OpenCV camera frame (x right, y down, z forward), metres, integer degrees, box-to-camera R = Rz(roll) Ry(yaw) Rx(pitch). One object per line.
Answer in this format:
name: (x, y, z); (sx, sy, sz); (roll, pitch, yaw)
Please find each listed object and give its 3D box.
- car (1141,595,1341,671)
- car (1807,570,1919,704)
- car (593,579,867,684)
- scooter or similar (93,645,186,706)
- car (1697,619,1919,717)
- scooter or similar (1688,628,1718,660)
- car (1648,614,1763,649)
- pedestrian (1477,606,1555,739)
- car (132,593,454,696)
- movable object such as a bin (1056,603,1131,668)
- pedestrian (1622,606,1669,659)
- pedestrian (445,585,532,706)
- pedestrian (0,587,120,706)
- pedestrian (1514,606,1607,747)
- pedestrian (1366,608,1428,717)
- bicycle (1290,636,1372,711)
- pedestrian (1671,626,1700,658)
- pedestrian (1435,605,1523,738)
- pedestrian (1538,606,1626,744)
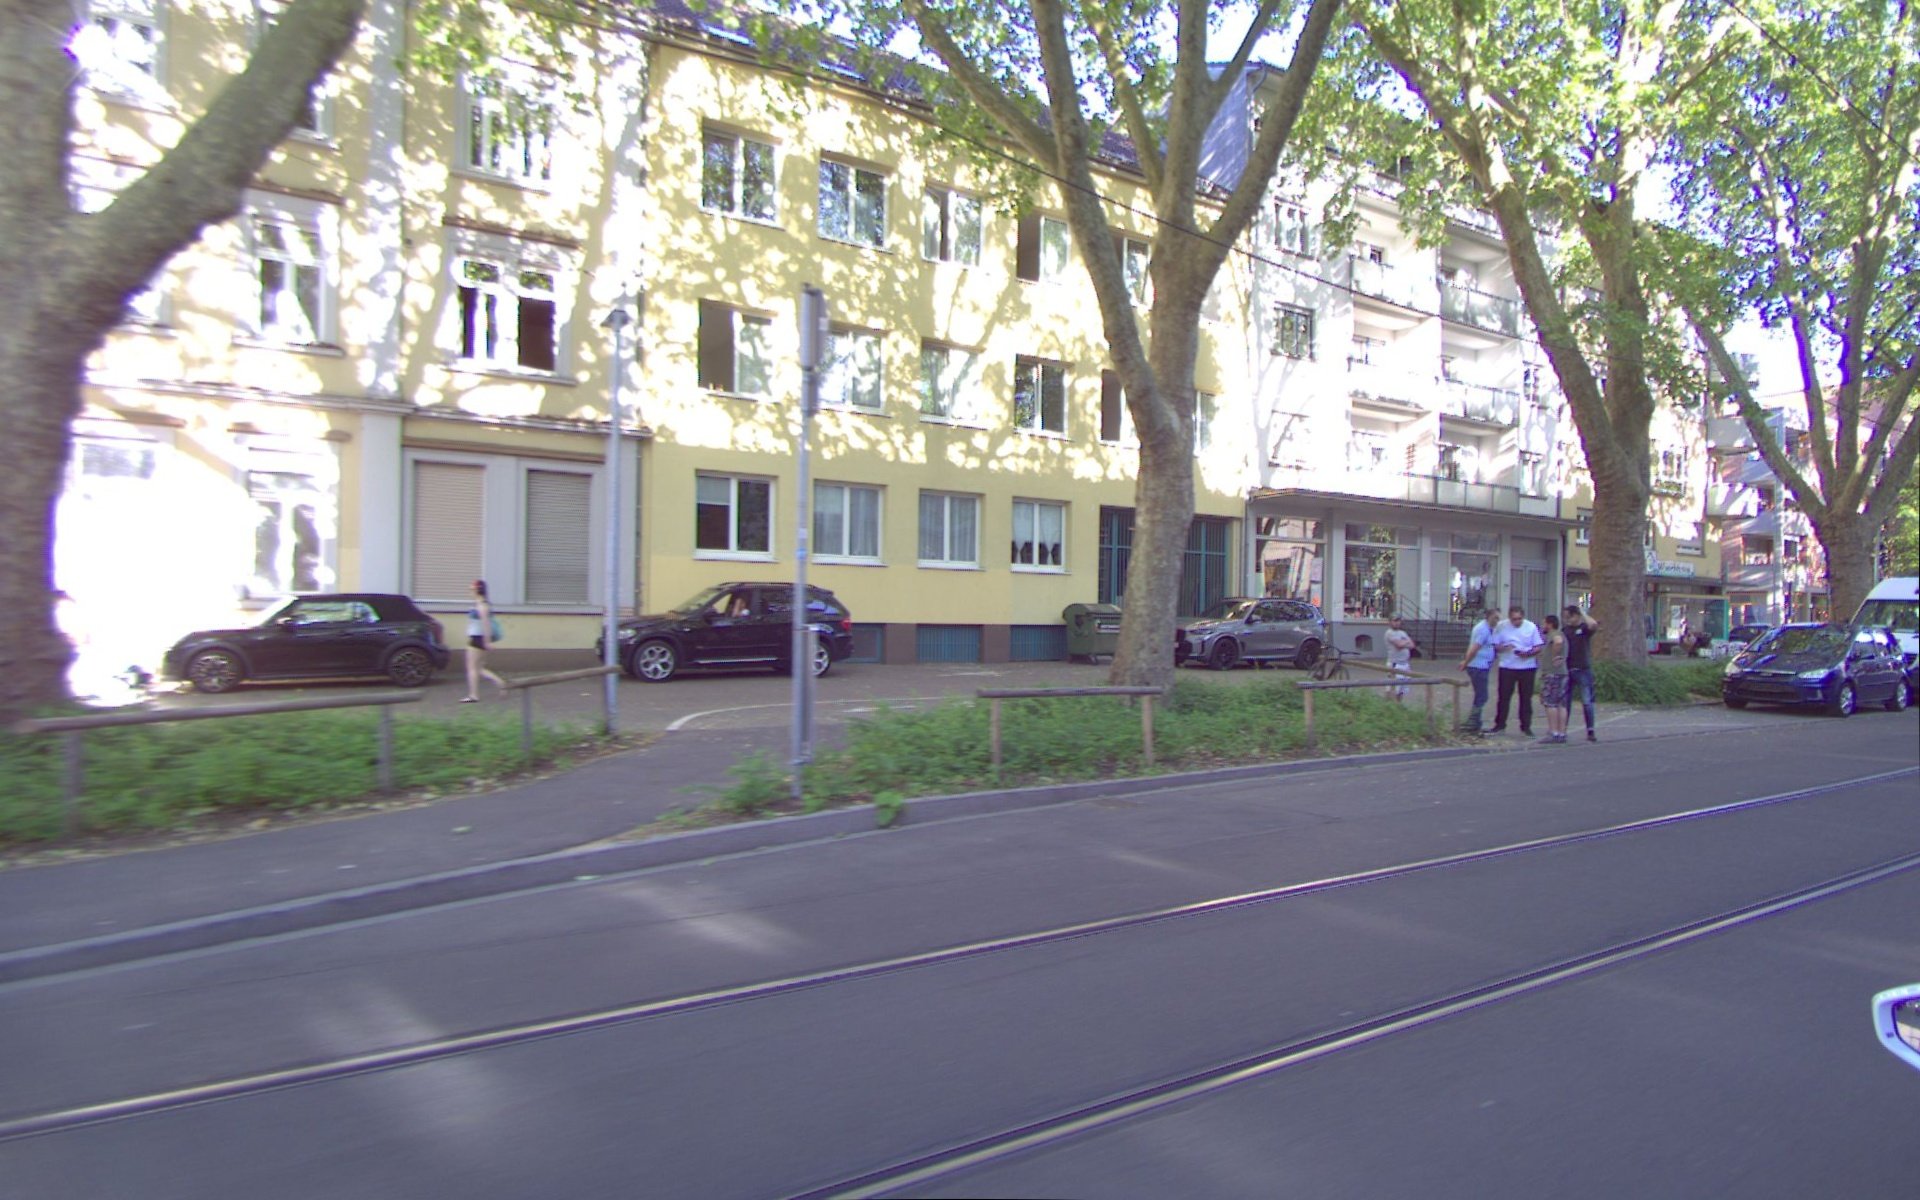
car: (7.072, 0.826, 25.188); (4.839, 1.756, 1.984); (2, 0, -30)
car: (20.882, 0.796, 21.585); (5.951, 2.611, 2.098); (2, 0, -29)
car: (-4.289, 0.581, 18.858); (4.637, 1.760, 1.985); (2, 0, -28)
scooter or similar: (-10.977, 1.002, 13.461); (0.886, 0.764, 0.525); (2, 0, -32)
car: (15.864, 1.216, 18.738); (4.235, 1.582, 1.907); (2, 0, -31)
scooter or similar: (28.516, 1.684, 38.548); (0.662, 1.182, 0.644); (2, 0, -3)
car: (38.978, 1.610, 52.611); (1.982, 1.475, 4.397); (1, 2, -37)
pedestrian: (7.632, 0.970, 13.808); (0.699, 1.758, 0.771); (2, 0, 12)
car: (-10.189, 0.660, 15.658); (3.957, 1.406, 1.769); (2, 0, -33)
movable object such as a bin: (3.277, 0.869, 24.674); (1.328, 1.522, 1.224); (2, 0, -31)
pedestrian: (25.257, 1.191, 37.015); (1.047, 1.889, 1.100); (2, 0, -33)
pedestrian: (-6.715, 0.630, 14.299); (0.999, 1.659, 0.707); (2, 0, -33)
pedestrian: (-11.818, 0.596, 13.202); (1.057, 1.498, 0.768); (2, 0, -32)
pedestrian: (7.780, 0.971, 13.045); (0.700, 1.758, 0.771); (2, 0, 1)
pedestrian: (6.830, 0.958, 15.733); (0.699, 1.631, 0.771); (2, 0, 12)
bicycle: (6.009, 1.165, 16.379); (0.558, 1.094, 1.851); (2, 0, -2)
pedestrian: (28.451, 1.639, 39.393); (0.662, 1.182, 0.644); (2, 0, -3)
pedestrian: (7.105, 0.955, 13.776); (0.705, 1.758, 0.768); (2, 0, -14)
pedestrian: (8.455, 0.994, 13.655); (0.762, 1.800, 0.708); (2, 0, -30)
